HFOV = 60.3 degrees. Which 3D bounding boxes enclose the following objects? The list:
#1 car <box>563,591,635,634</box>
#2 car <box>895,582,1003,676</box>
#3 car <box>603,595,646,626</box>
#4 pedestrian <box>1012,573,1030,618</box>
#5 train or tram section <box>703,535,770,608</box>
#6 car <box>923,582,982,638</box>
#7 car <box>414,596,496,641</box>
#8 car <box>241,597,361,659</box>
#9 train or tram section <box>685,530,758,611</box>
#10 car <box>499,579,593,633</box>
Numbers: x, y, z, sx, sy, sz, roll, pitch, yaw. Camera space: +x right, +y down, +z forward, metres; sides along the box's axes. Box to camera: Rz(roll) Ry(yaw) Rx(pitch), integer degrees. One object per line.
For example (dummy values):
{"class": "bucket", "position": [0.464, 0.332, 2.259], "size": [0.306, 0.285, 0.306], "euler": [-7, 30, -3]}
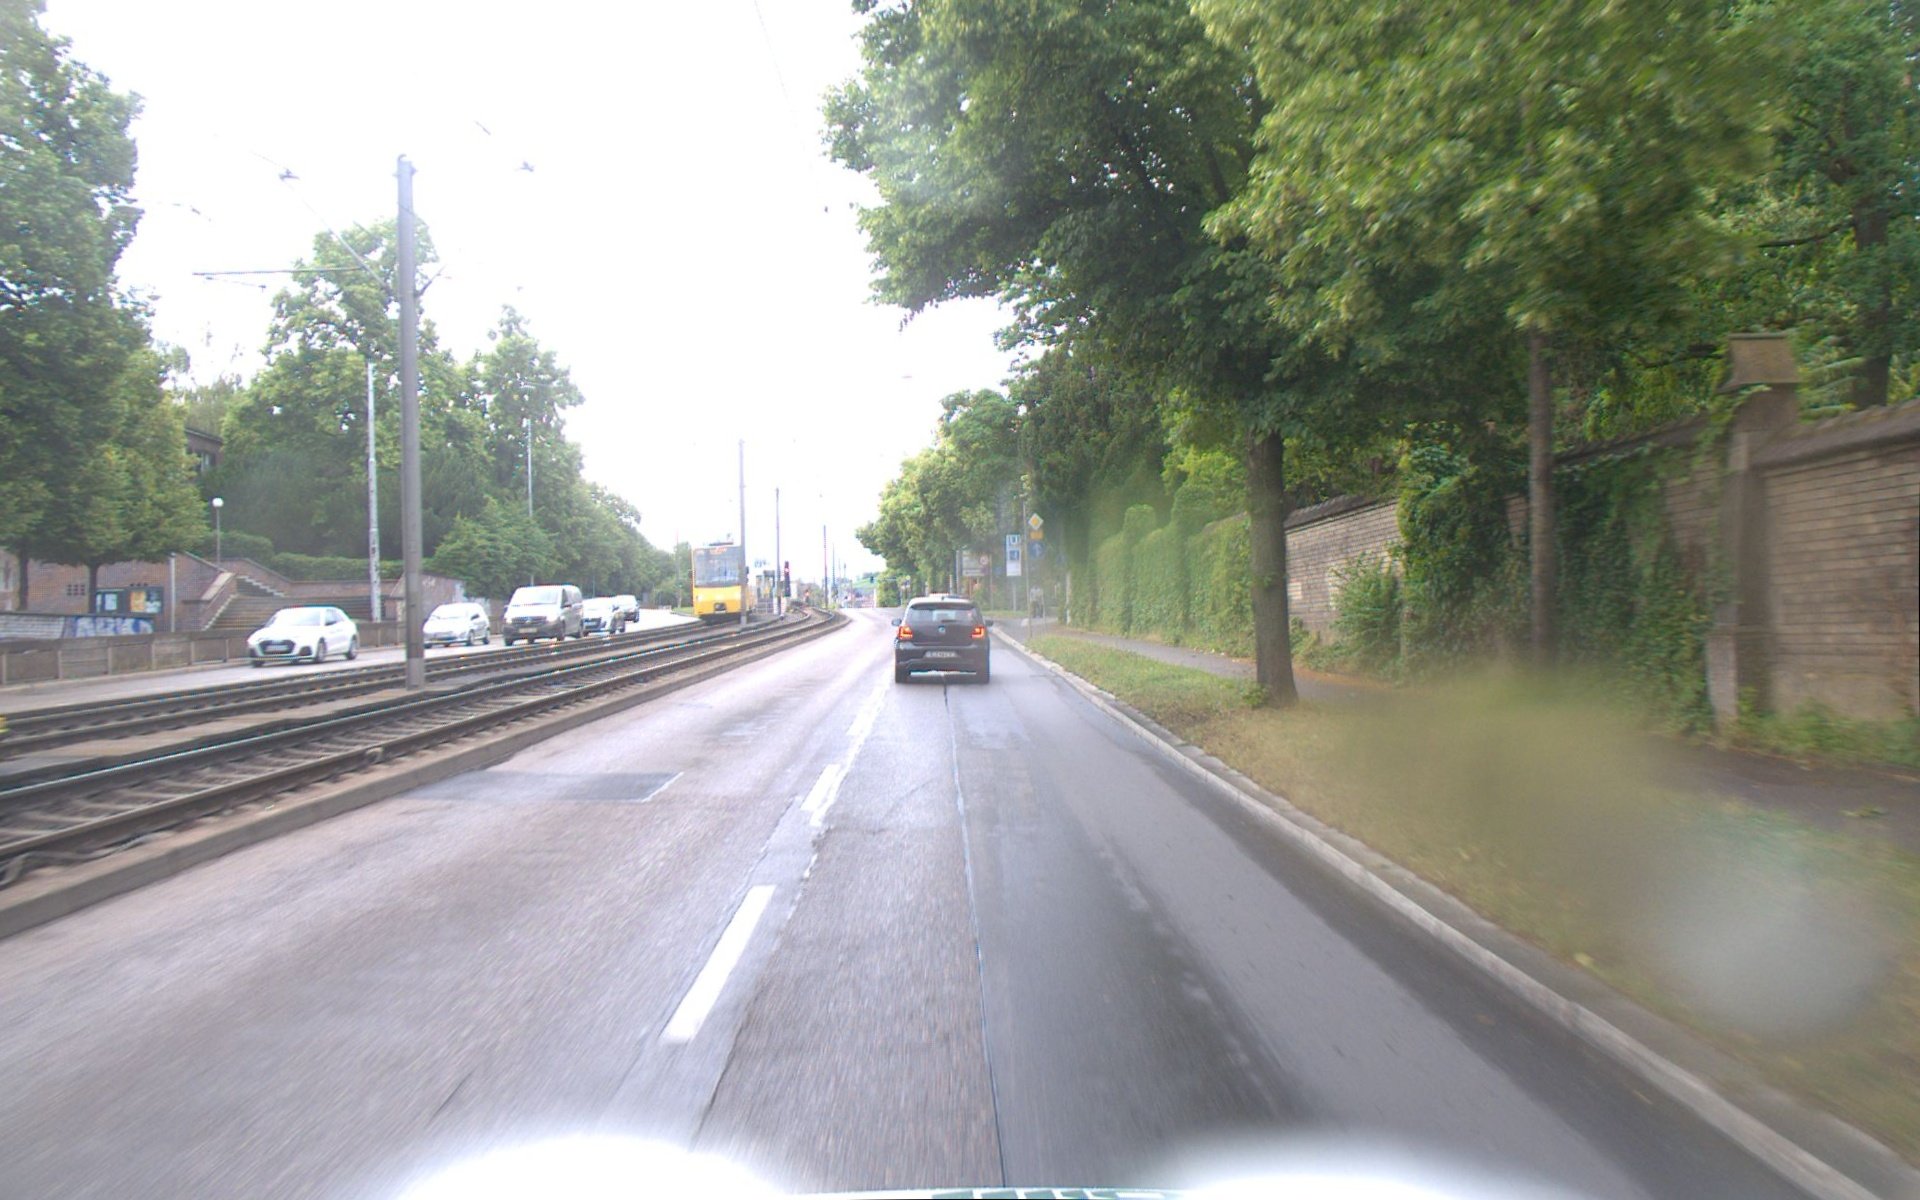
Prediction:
{"class": "car", "position": [-14.183, 0.452, 65.172], "size": [1.953, 1.603, 4.534], "euler": [0, 1, -2]}
{"class": "car", "position": [-0.264, 0.457, 29.313], "size": [1.758, 1.511, 3.963], "euler": [1, 1, -3]}
{"class": "car", "position": [-18.767, 0.572, 92.572], "size": [1.698, 1.691, 3.999], "euler": [0, 1, -2]}
{"class": "pedestrian", "position": [4.119, -0.303, 111.466], "size": [1.140, 3.029, 0.947], "euler": [0, 0, -2]}
{"class": "train or tram section", "position": [-11.936, -1.515, 89.053], "size": [2.775, 3.668, 9.266], "euler": [0, 1, -3]}
{"class": "car", "position": [-0.237, 0.260, 48.720], "size": [1.642, 1.557, 3.721], "euler": [-1, 1, -1]}
{"class": "car", "position": [-17.445, 0.608, 57.263], "size": [1.693, 1.468, 3.999], "euler": [0, 1, -2]}
{"class": "car", "position": [-16.899, 0.686, 42.576], "size": [1.584, 1.459, 3.999], "euler": [0, 1, -2]}
{"class": "train or tram section", "position": [-11.414, -1.394, 79.845], "size": [2.776, 3.668, 9.263], "euler": [0, 1, -4]}
{"class": "car", "position": [-13.585, 0.168, 54.608], "size": [1.953, 1.691, 5.125], "euler": [0, 1, -2]}
